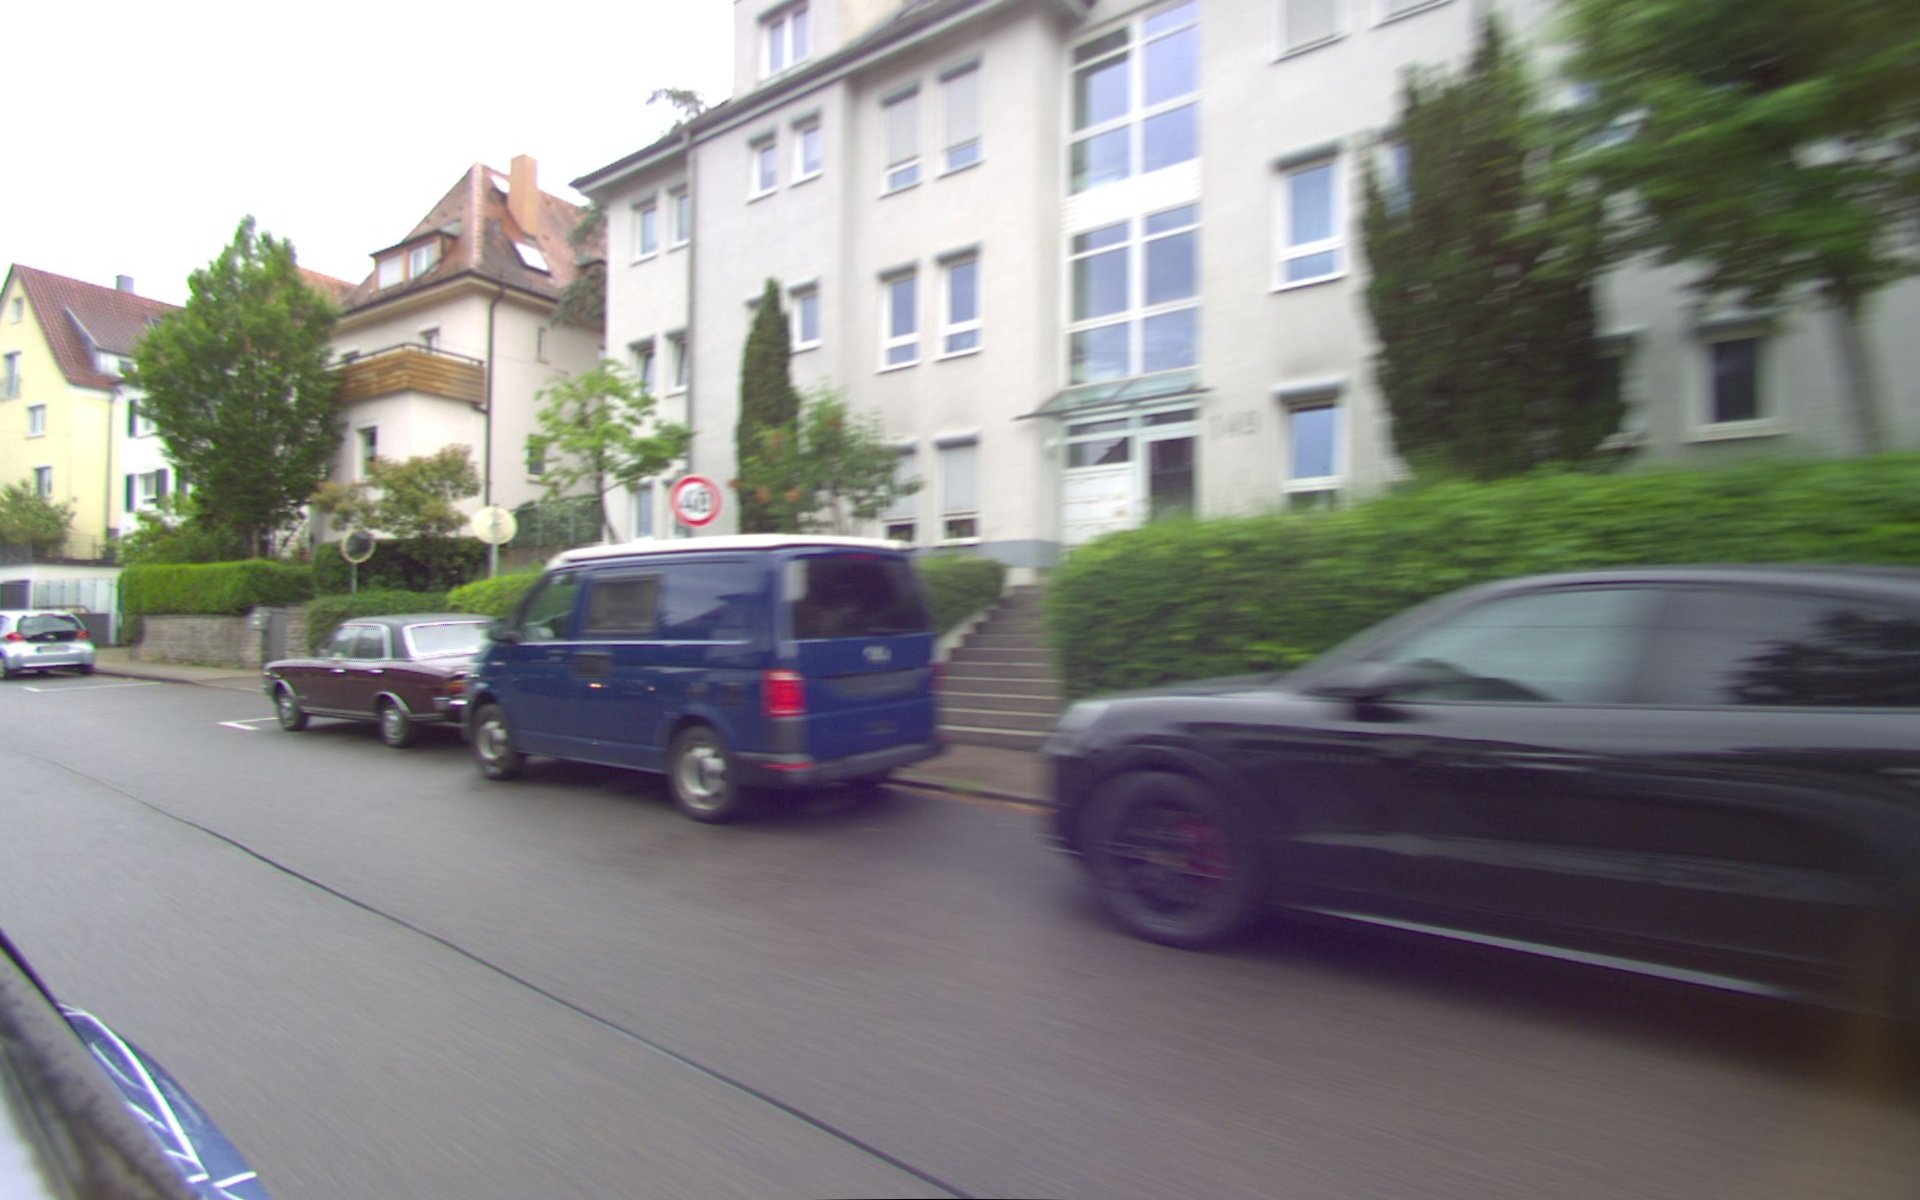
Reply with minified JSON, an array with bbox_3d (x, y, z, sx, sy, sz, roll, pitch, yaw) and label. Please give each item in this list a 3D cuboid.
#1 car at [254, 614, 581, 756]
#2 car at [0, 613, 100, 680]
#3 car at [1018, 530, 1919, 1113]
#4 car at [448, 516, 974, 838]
[{"bbox_3d":[-6.578,0.877,12.080,4.502,1.383,1.660,0,0,36],"label":"car"},{"bbox_3d":[-20.921,1.011,22.511,3.425,1.383,1.664,-1,-1,29],"label":"car"},{"bbox_3d":[2.647,0.649,4.017,4.744,1.607,1.812,-1,-3,41],"label":"car"},{"bbox_3d":[-2.252,0.519,8.434,4.574,2.003,1.814,-1,-1,38],"label":"car"}]
